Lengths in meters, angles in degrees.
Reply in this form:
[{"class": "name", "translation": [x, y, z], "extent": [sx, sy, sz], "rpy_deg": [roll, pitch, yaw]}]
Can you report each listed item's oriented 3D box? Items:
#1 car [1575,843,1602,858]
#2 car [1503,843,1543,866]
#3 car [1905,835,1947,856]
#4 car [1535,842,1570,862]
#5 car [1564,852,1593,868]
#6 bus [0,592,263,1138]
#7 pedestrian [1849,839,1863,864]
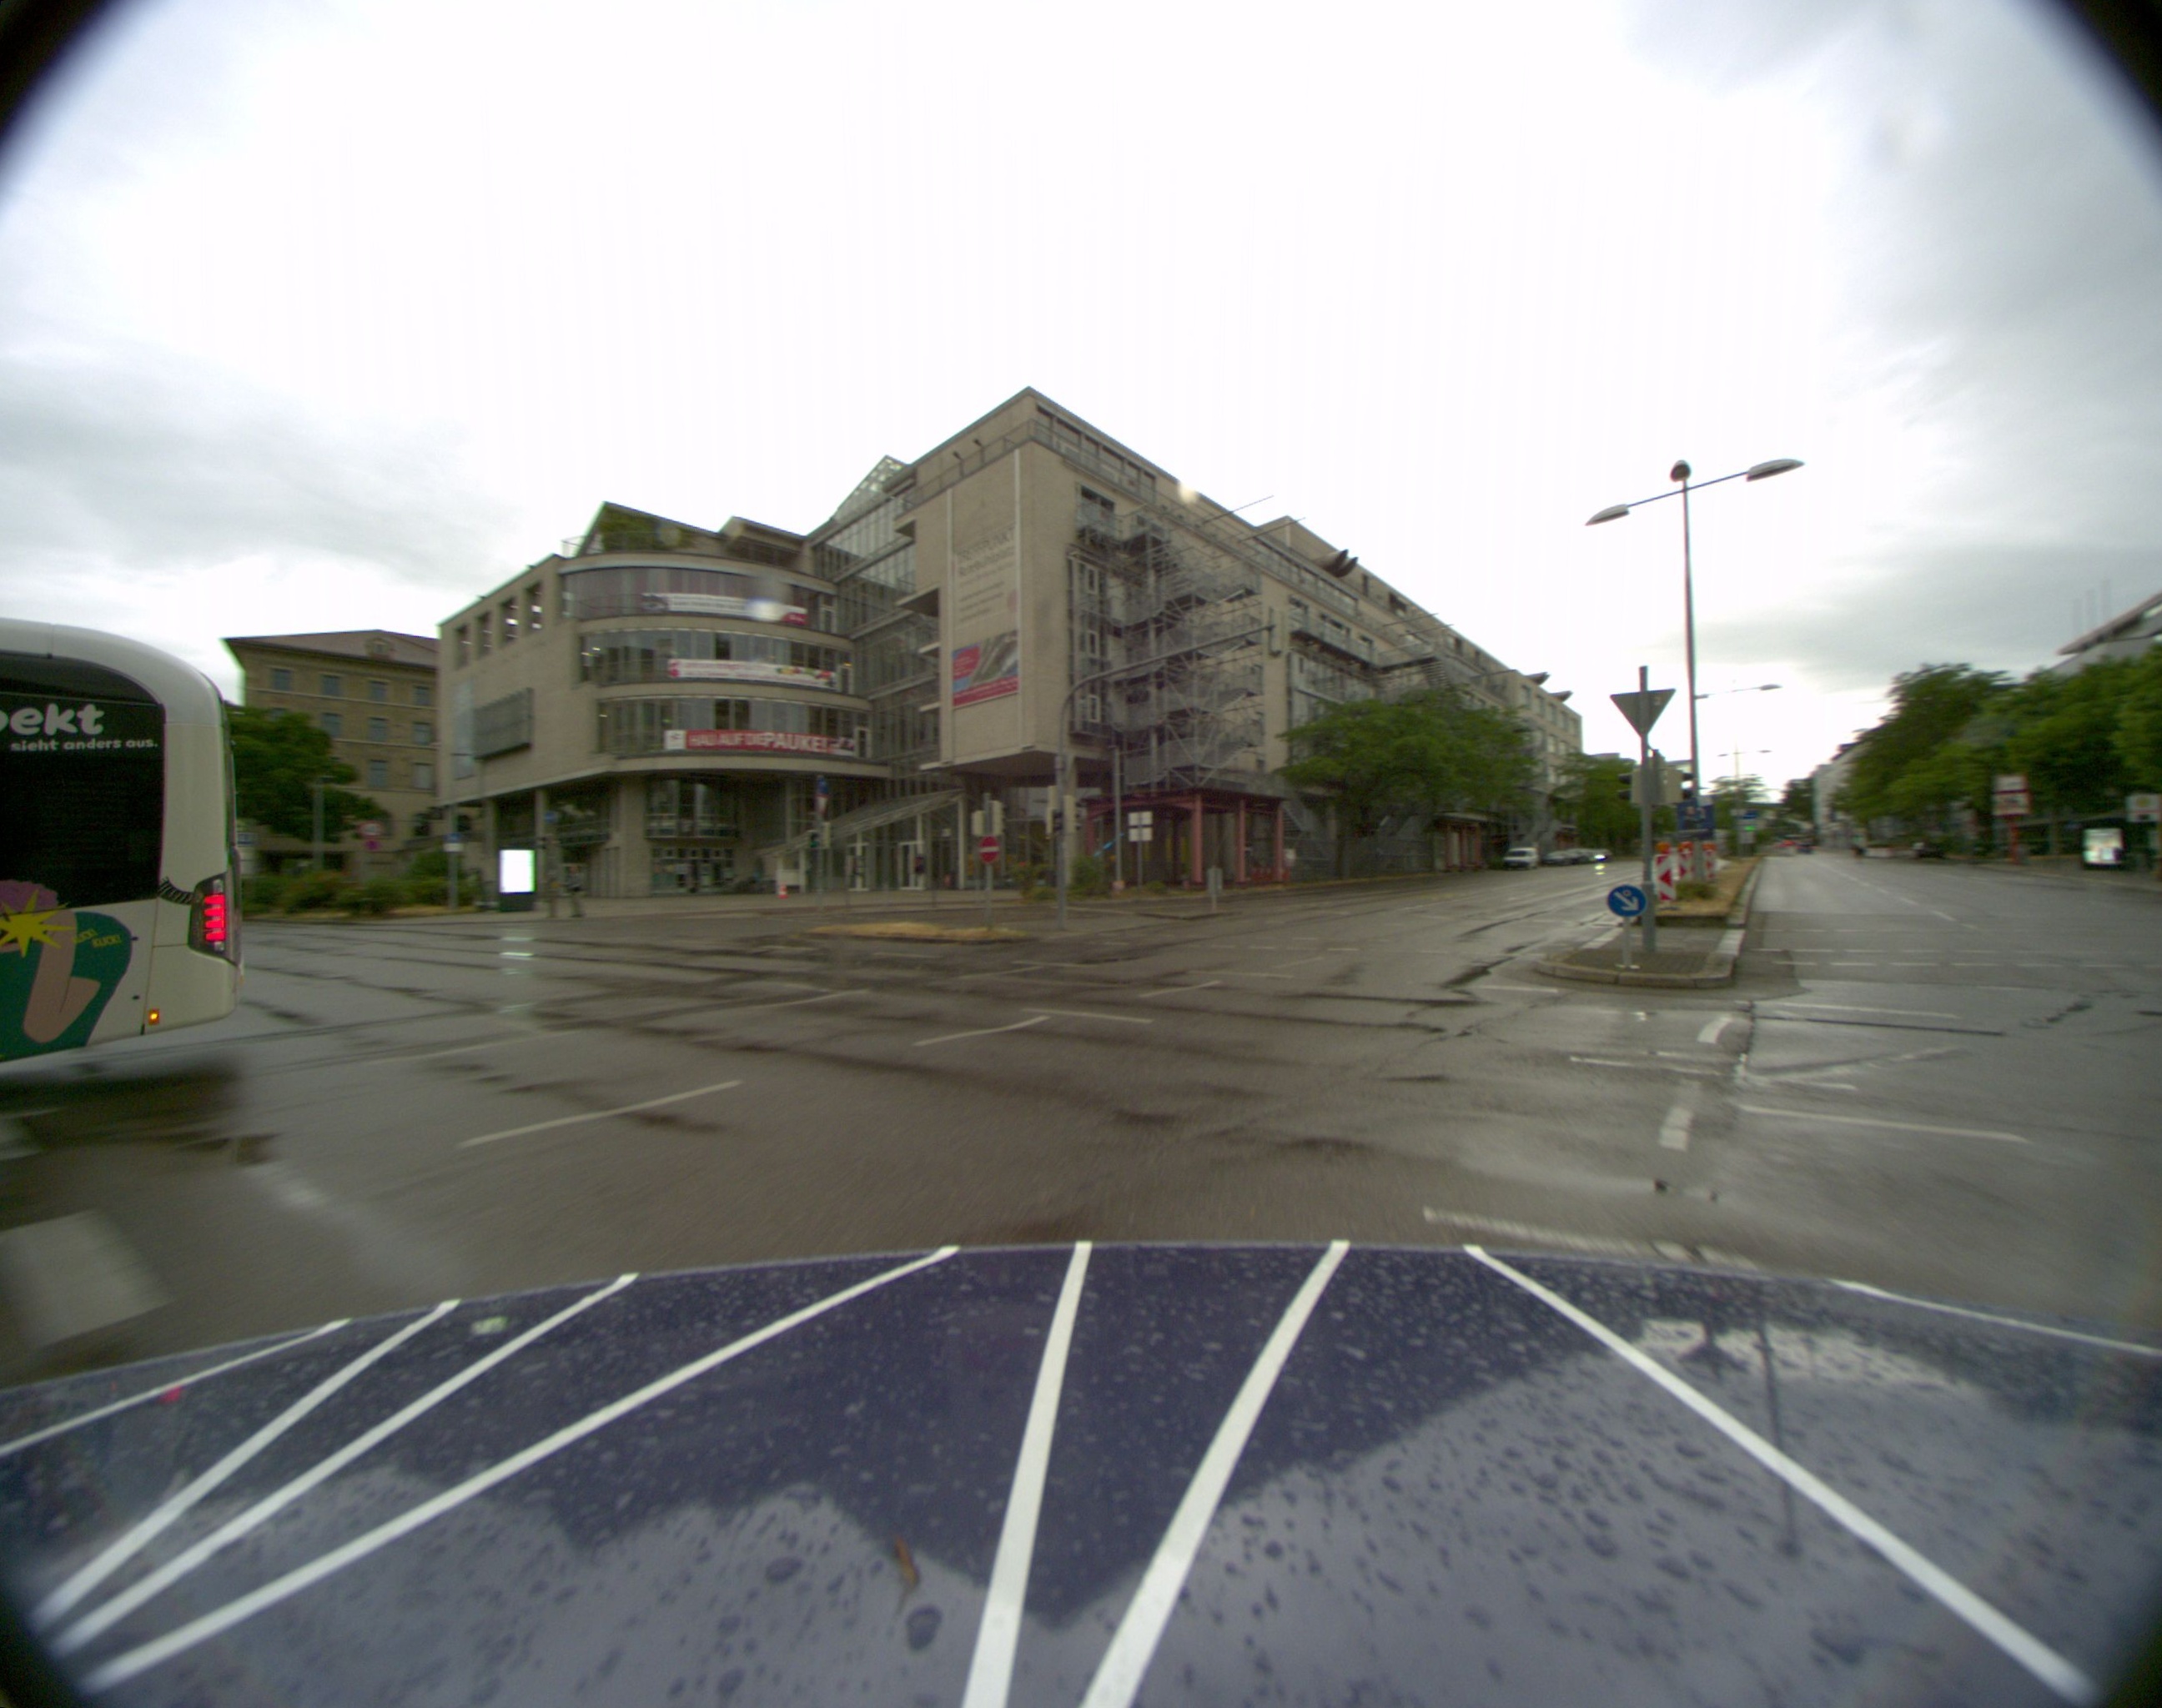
[{"class": "car", "translation": [52.683, -0.388, 78.857], "extent": [1.754, 1.501, 4.346], "rpy_deg": [-1, 0, 41]}, {"class": "car", "translation": [35.881, 0.016, 61.687], "extent": [1.994, 1.783, 4.346], "rpy_deg": [-1, 0, 41]}, {"class": "car", "translation": [75.882, -0.769, 68.296], "extent": [1.994, 1.739, 4.008], "rpy_deg": [-1, 0, 41]}, {"class": "car", "translation": [43.504, -0.183, 70.074], "extent": [1.994, 1.783, 4.346], "rpy_deg": [-1, 0, 41]}, {"class": "car", "translation": [48.749, 0.585, 74.466], "extent": [1.754, 1.501, 4.346], "rpy_deg": [-1, 0, 41]}, {"class": "bus", "translation": [-10.095, 0.132, 3.759], "extent": [2.679, 3.567, 8.105], "rpy_deg": [-1, 0, 44]}, {"class": "pedestrian", "translation": [62.617, -0.164, 61.375], "extent": [0.695, 2.002, 0.614], "rpy_deg": [-1, 0, -33]}]
